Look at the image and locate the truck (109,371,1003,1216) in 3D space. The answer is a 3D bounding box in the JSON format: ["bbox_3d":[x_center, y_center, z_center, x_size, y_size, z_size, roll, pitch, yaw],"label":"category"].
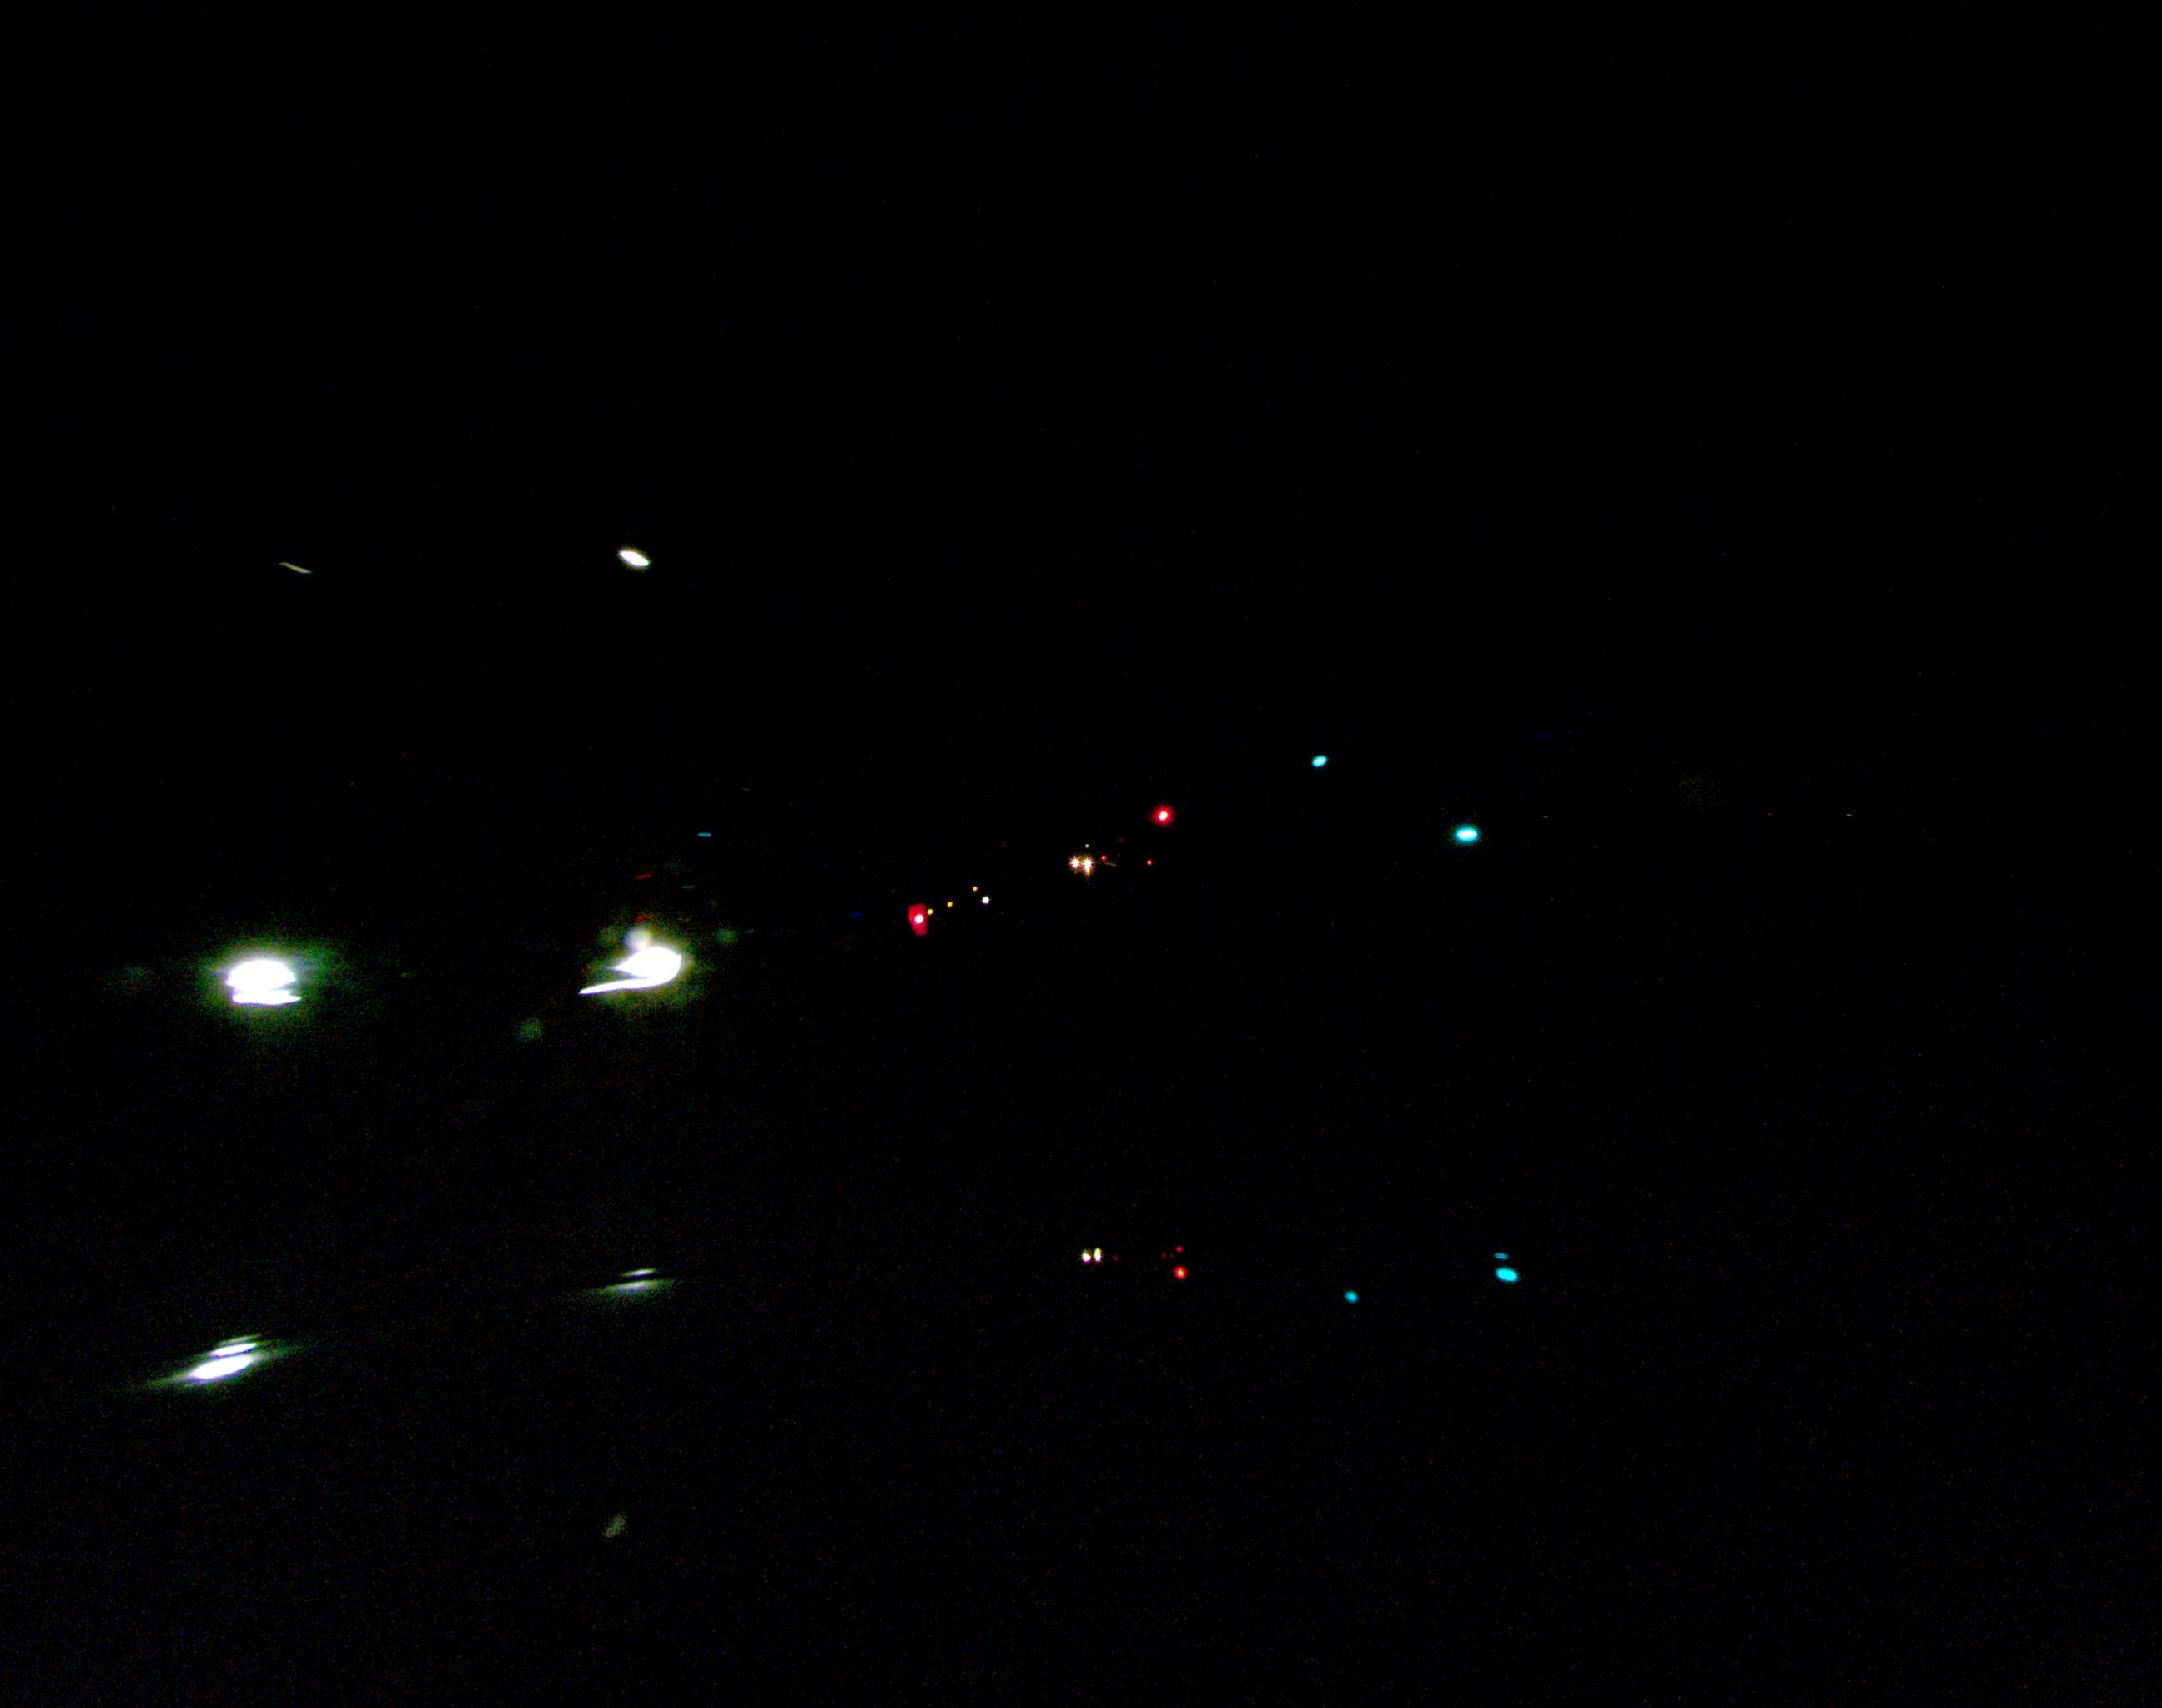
[{"bbox_3d":[-3.267,-0.300,10.329,2.694,4.082,13.141,-2,0,1],"label":"truck"}]

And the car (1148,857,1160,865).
[{"bbox_3d":[12.474,1.166,130.122,1.609,1.322,3.939,1,0,-1],"label":"car"}]

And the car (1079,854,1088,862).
[{"bbox_3d":[0.485,0.731,143.707,1.570,1.336,4.166,-2,0,-1],"label":"car"}]
